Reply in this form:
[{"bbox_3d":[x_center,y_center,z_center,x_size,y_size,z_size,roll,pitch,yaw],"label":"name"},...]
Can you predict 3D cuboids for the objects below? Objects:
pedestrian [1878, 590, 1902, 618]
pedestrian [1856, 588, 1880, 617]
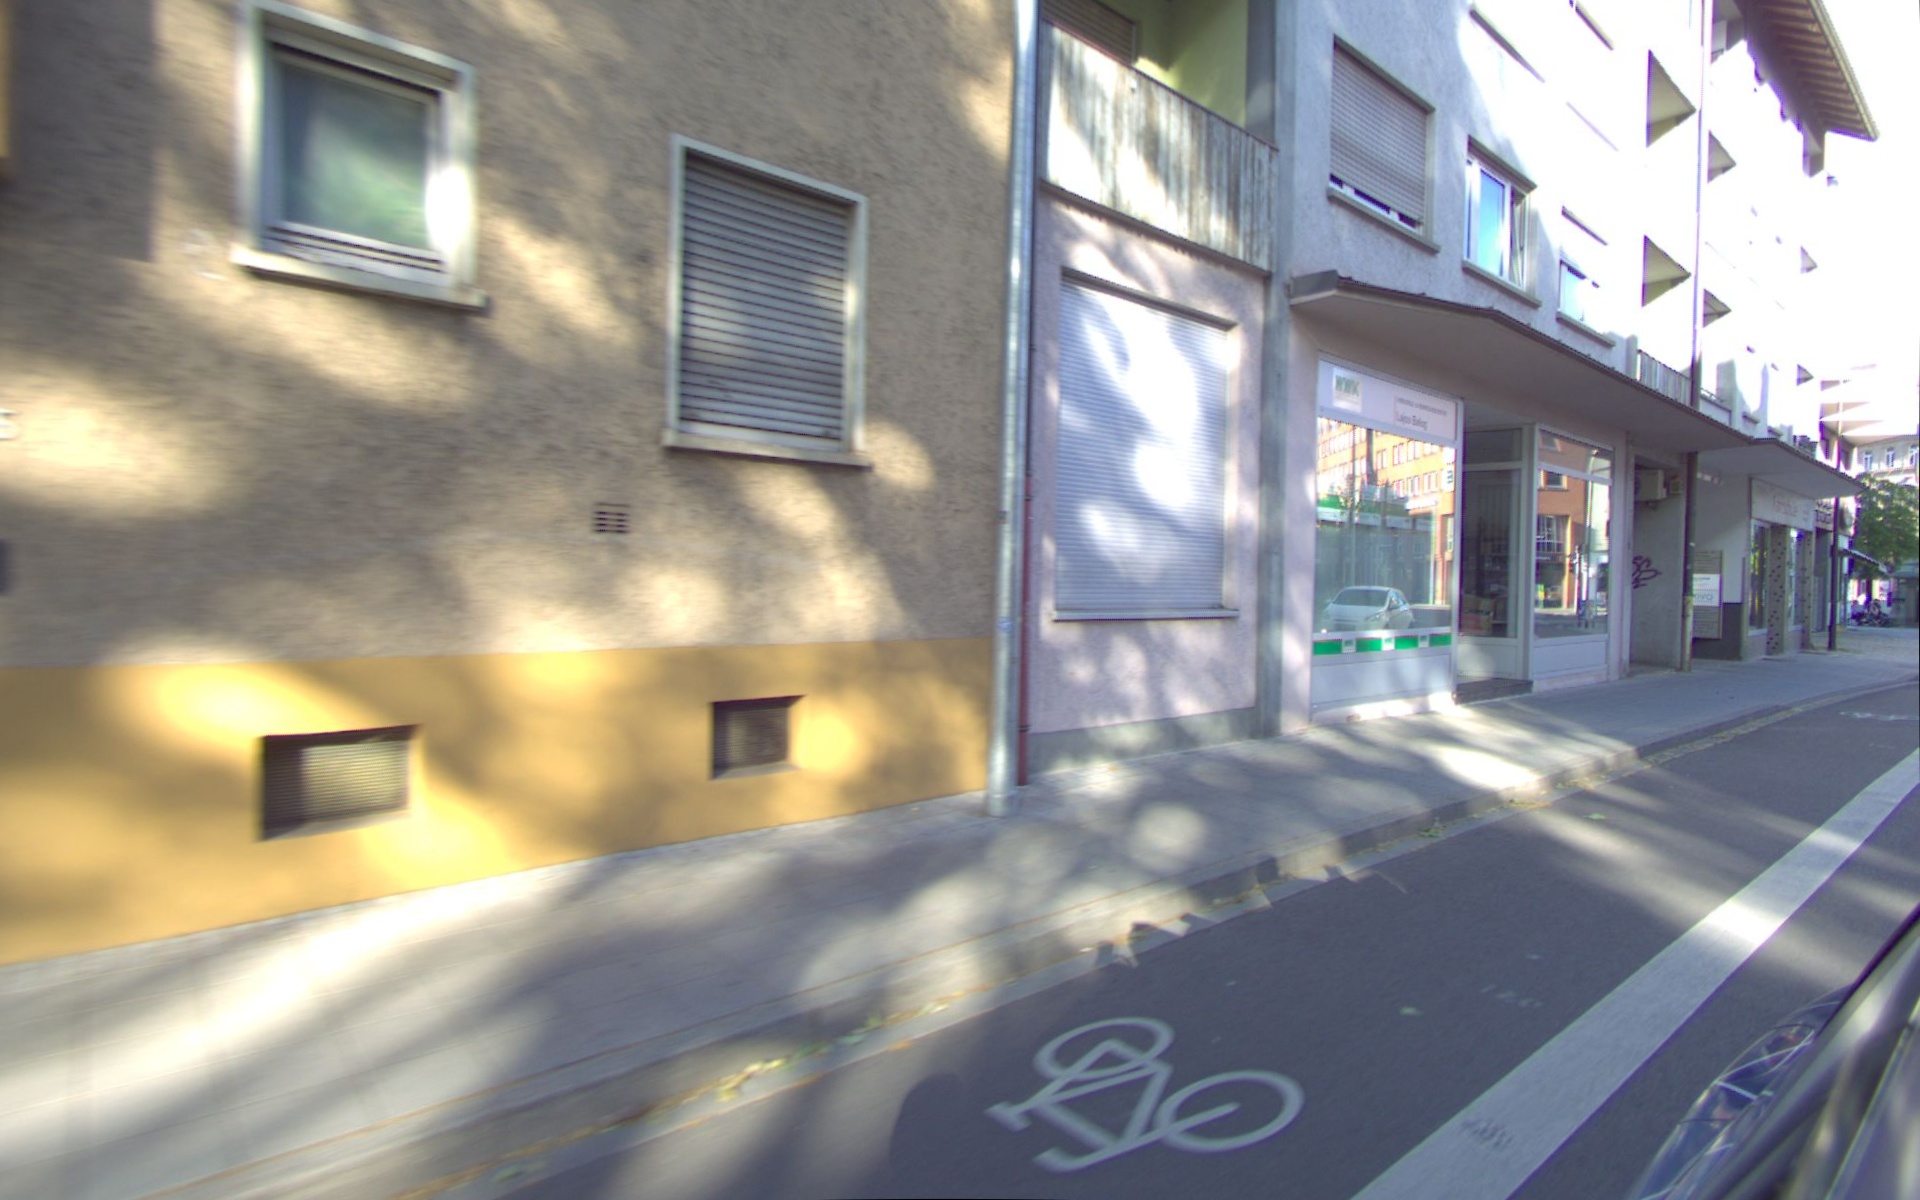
[{"bbox_3d":[42.504,0.174,46.272,0.705,1.247,0.760,5,4,40],"label":"pedestrian"},{"bbox_3d":[41.922,0.125,46.746,0.705,1.257,0.755,5,4,40],"label":"pedestrian"}]
